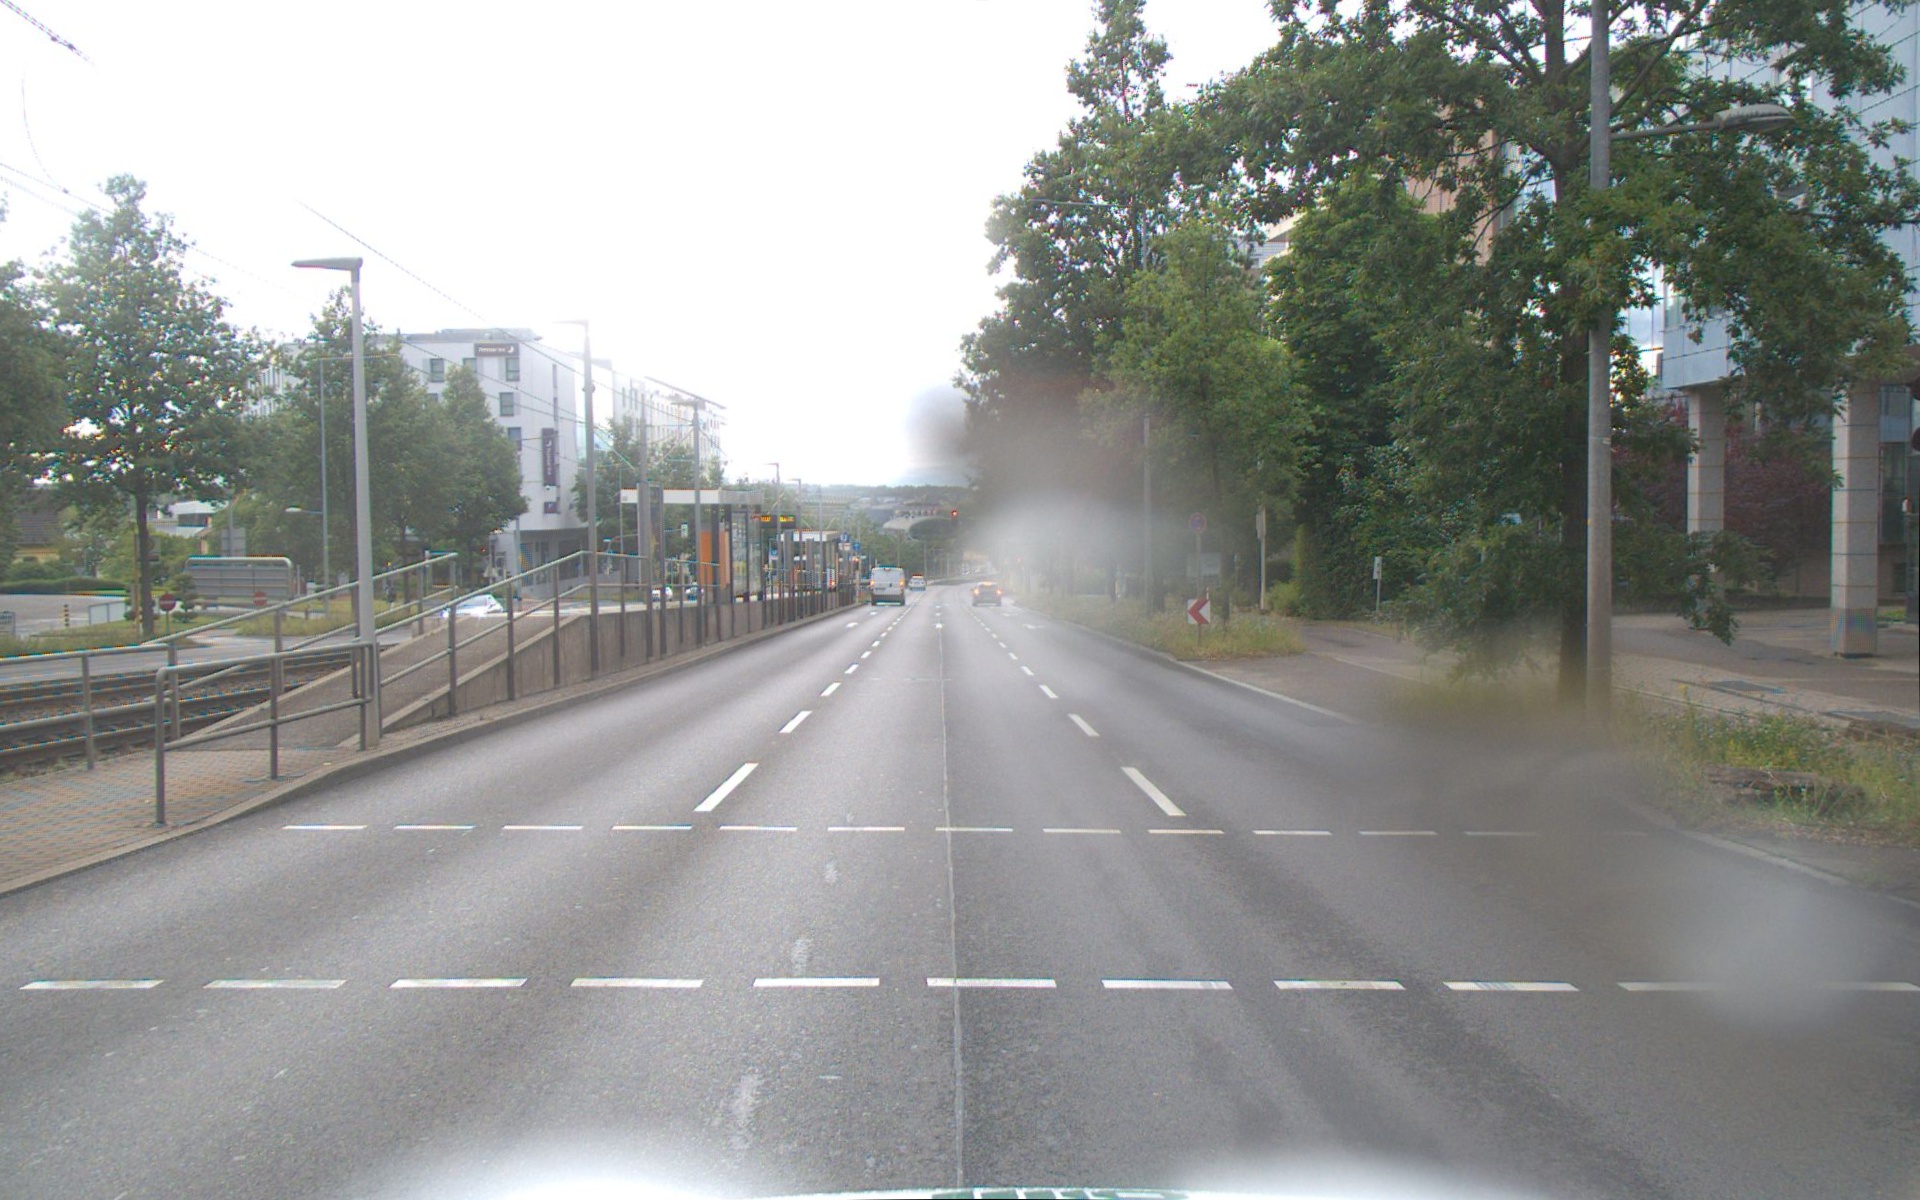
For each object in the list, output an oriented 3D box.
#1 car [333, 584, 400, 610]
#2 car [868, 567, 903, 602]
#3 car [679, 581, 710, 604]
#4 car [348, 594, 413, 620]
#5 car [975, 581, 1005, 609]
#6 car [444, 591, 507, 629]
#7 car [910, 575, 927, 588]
[{"bbox_3d":[-33.512,-0.171,93.410,3.297,1.411,1.434,0,1,9],"label":"car"},{"bbox_3d":[-4.577,-0.974,102.418,2.050,2.089,4.605,0,1,-1],"label":"car"},{"bbox_3d":[-17.335,-0.483,107.872,1.622,1.461,3.866,-2,1,-14],"label":"car"},{"bbox_3d":[-33.399,0.400,95.338,3.297,1.411,1.434,0,1,16],"label":"car"},{"bbox_3d":[1.819,-0.330,102.807,1.738,1.720,3.845,0,1,-1],"label":"car"},{"bbox_3d":[-20.214,0.395,69.174,1.617,1.461,3.877,-2,1,-3],"label":"car"},{"bbox_3d":[-4.565,-1.977,180.635,1.746,1.414,4.000,0,1,0],"label":"car"}]
